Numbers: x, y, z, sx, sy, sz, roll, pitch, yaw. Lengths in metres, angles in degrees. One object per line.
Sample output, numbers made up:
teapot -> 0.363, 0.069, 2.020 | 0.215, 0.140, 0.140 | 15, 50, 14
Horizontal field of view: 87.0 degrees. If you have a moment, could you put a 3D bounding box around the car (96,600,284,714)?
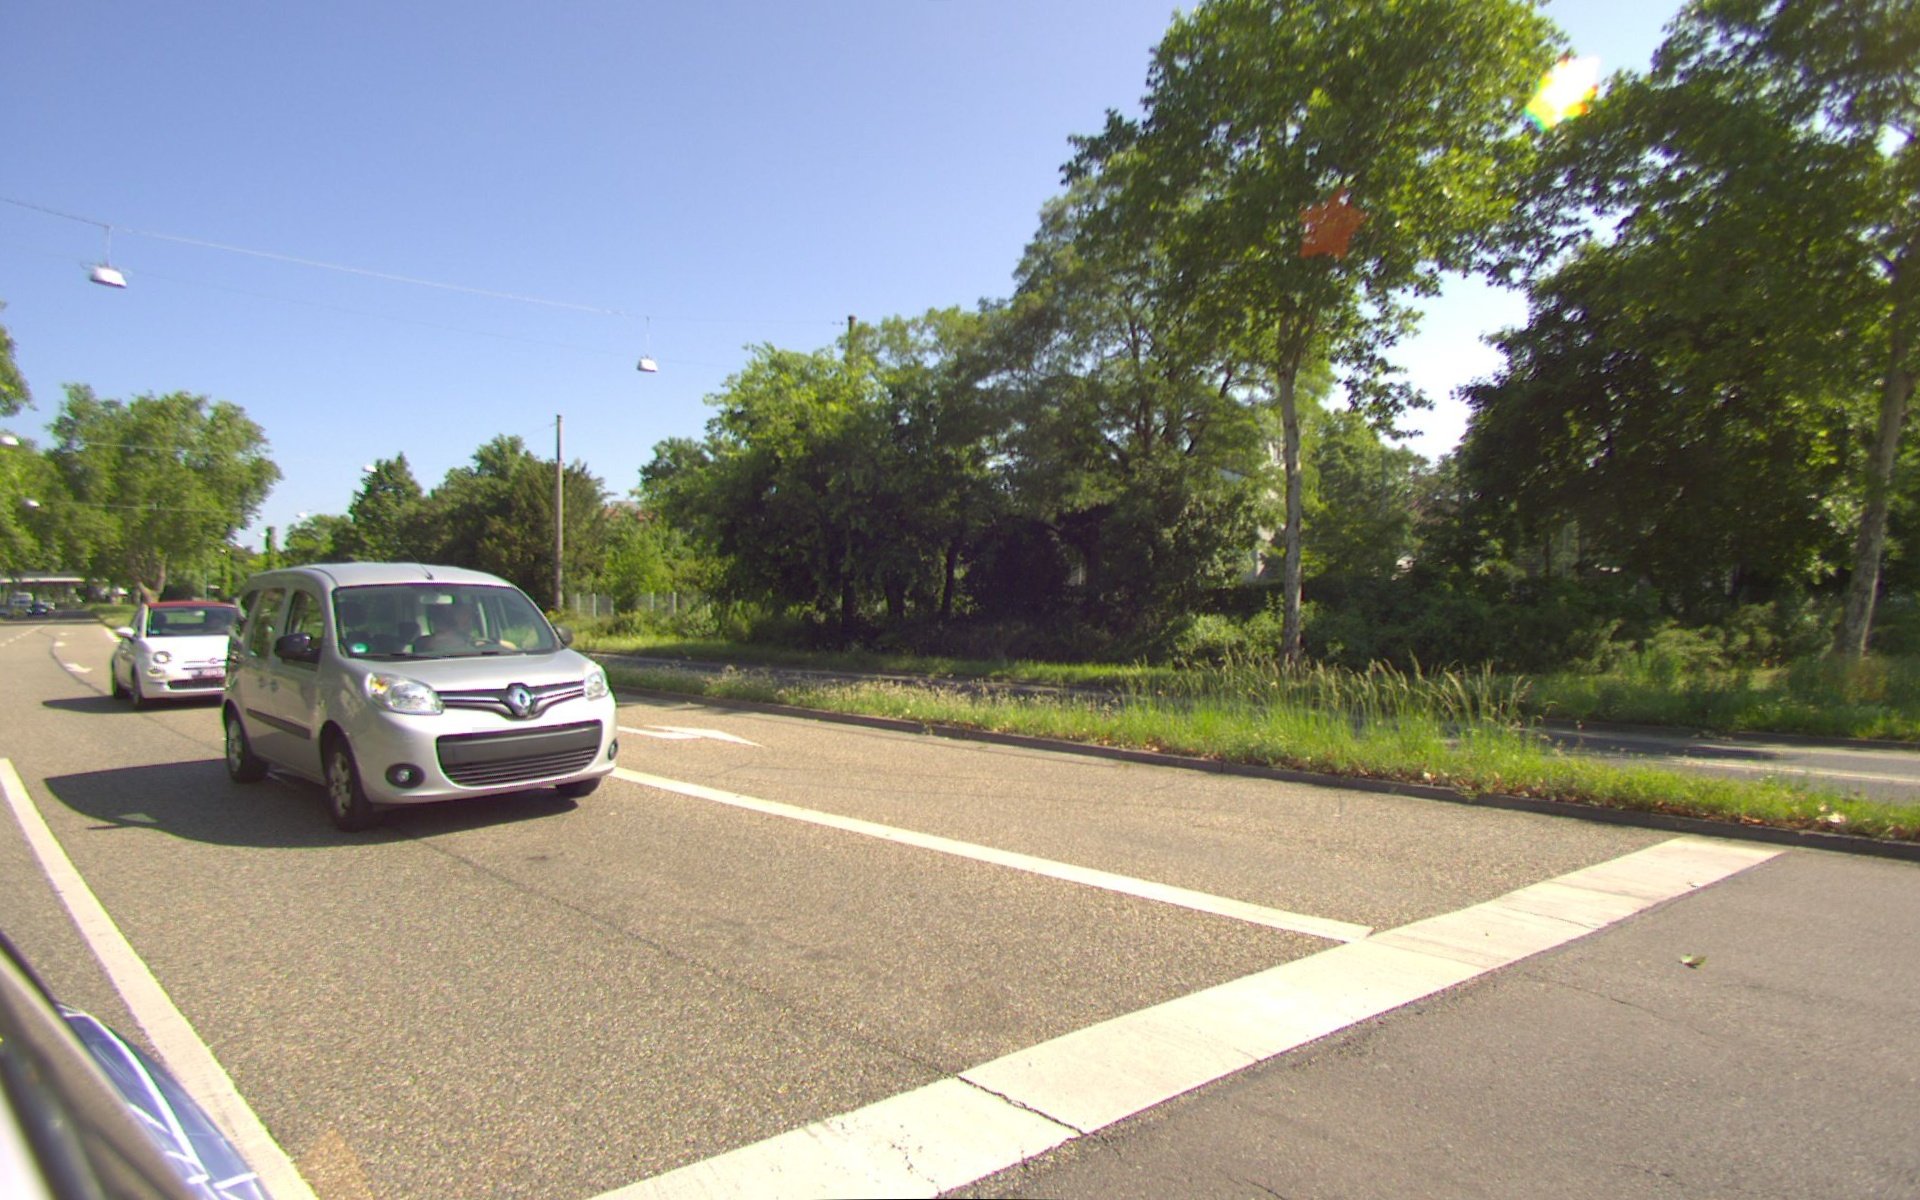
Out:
car -> -11.847, 0.767, 15.458 | 4.377, 1.502, 1.666 | 0, -1, 44

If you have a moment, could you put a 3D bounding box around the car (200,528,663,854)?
car -> -4.321, 0.527, 7.923 | 4.375, 1.854, 1.852 | 0, 0, 43

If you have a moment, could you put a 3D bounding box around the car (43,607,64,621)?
car -> -139.465, 2.177, 155.682 | 1.967, 2.029, 4.010 | 1, -1, -35
